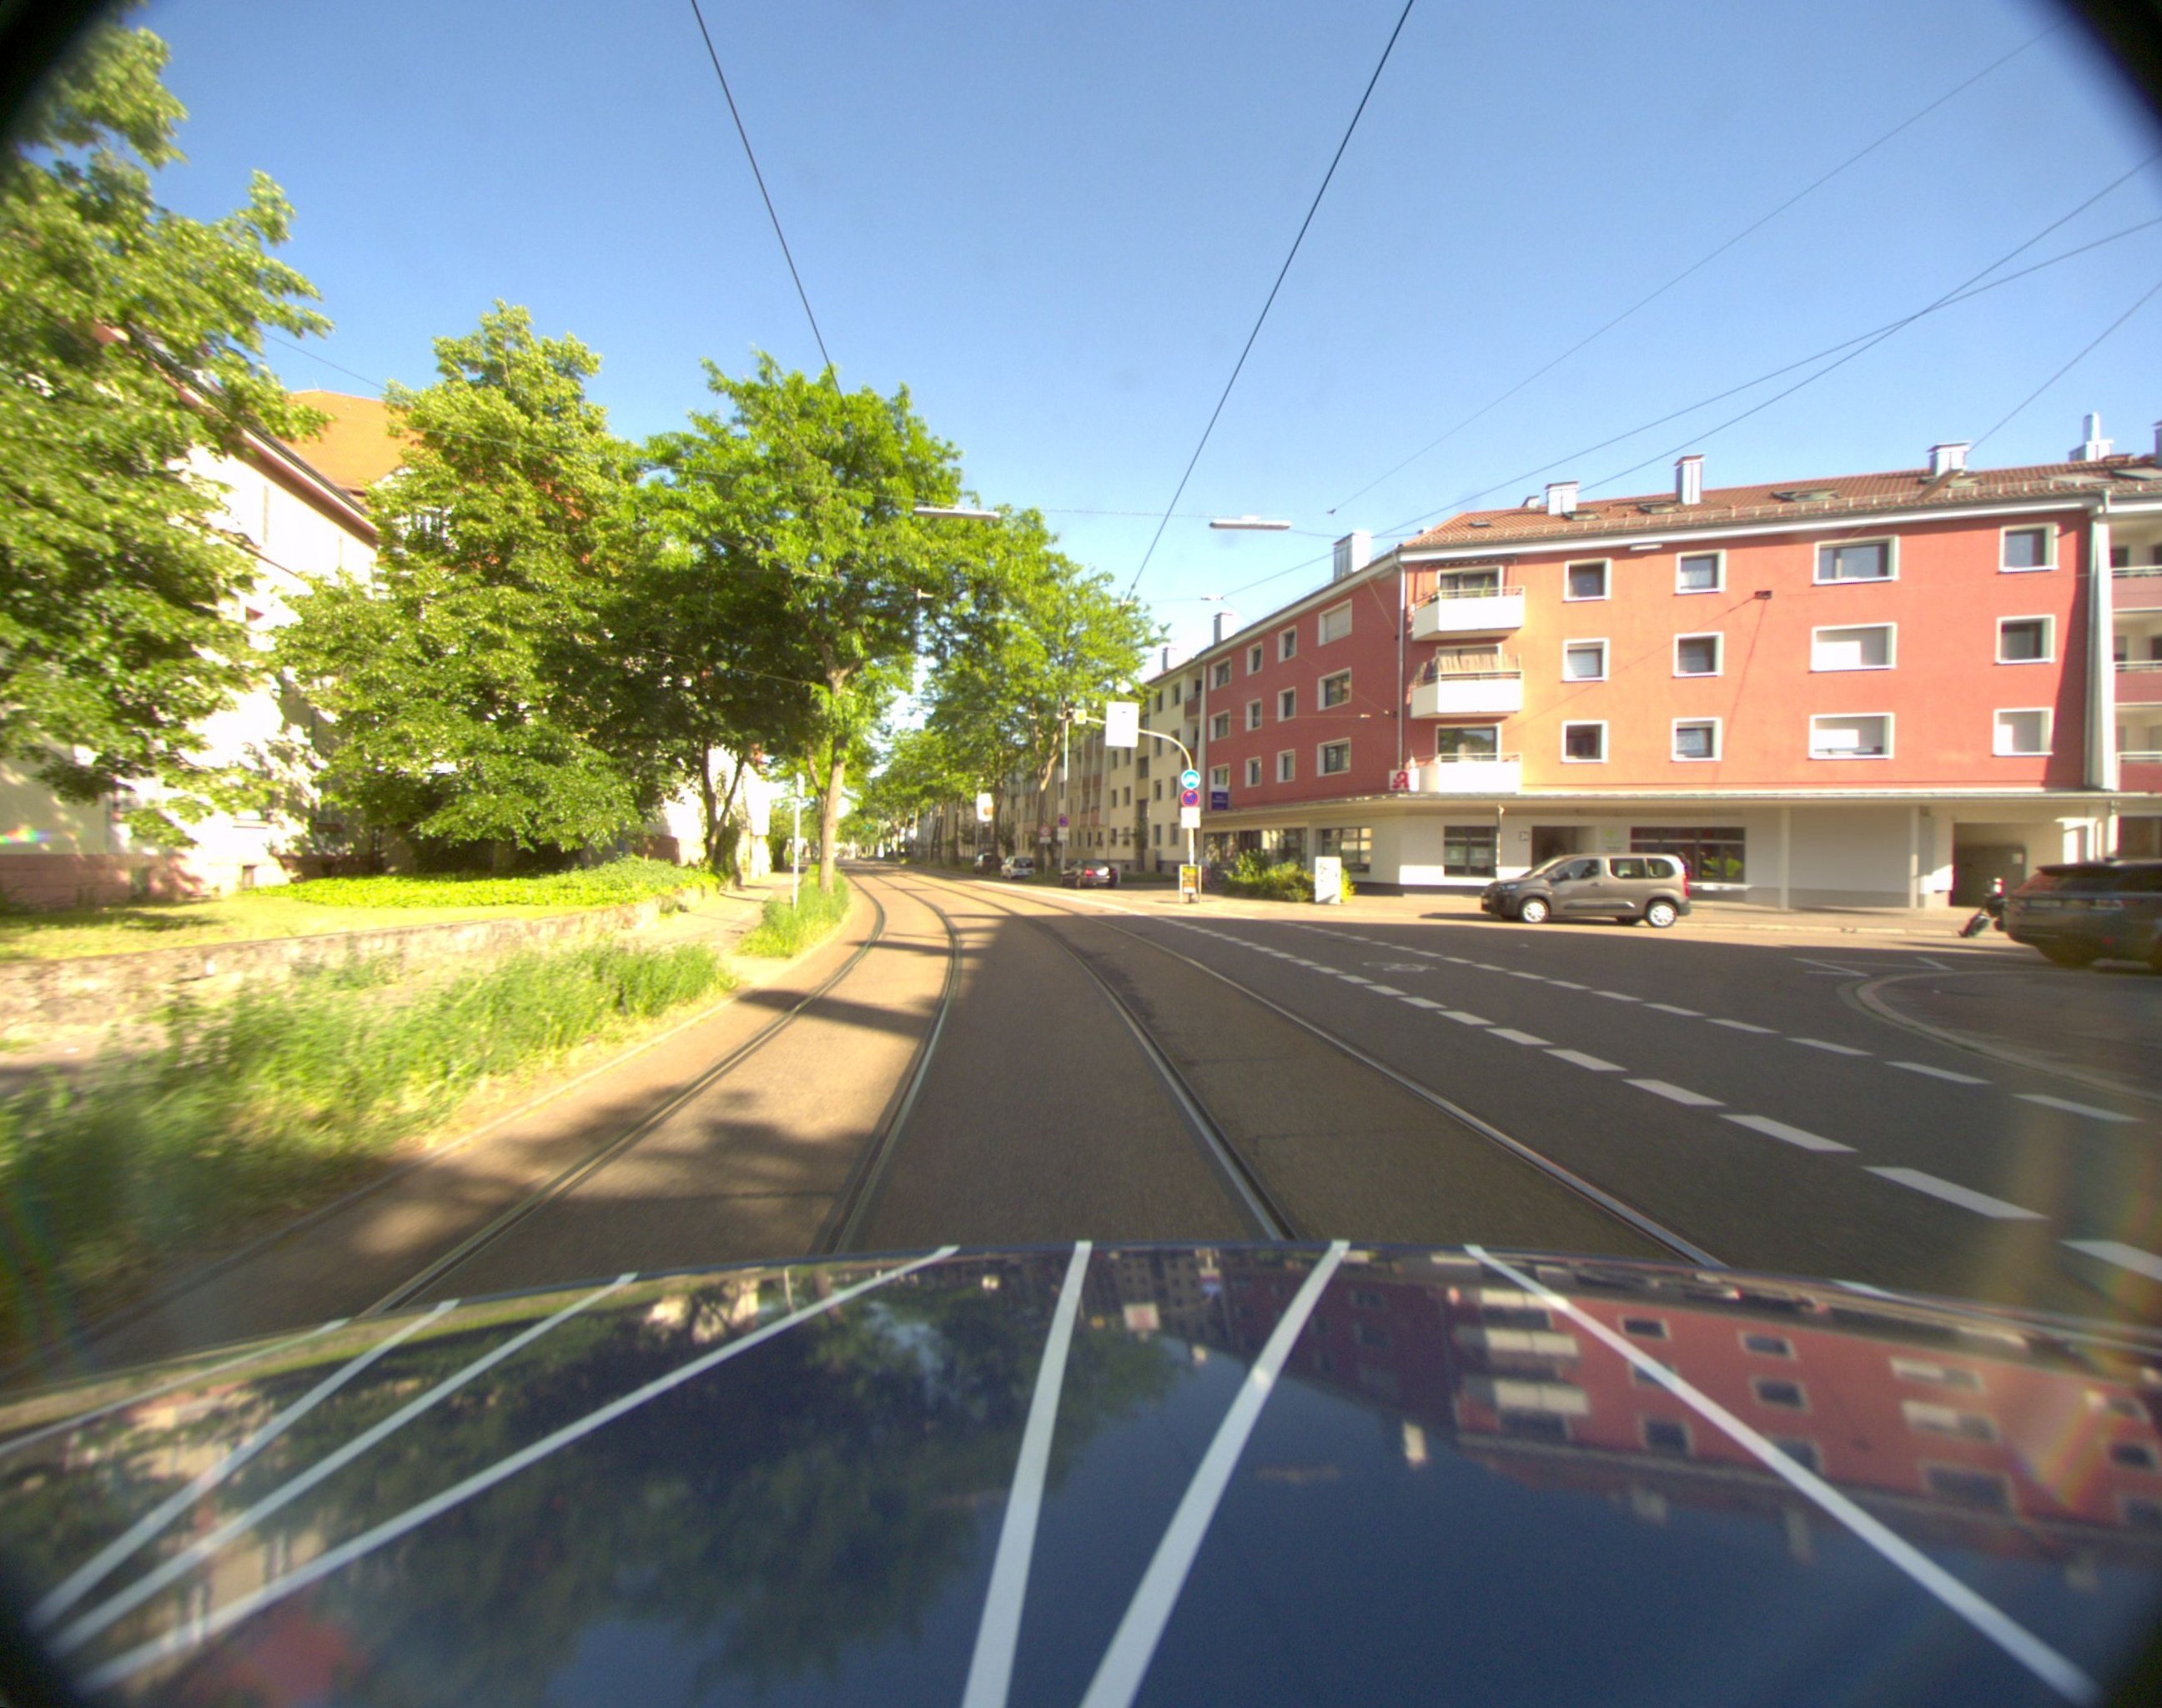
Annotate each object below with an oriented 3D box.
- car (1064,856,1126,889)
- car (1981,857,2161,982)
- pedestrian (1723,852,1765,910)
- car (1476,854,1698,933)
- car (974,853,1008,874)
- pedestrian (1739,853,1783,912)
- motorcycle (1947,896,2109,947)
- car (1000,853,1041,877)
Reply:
[{"bbox_3d":[0.595,0.837,35.937,1.881,1.390,3.995,-2,1,-15],"label":"car"},{"bbox_3d":[17.054,0.975,11.278,4.482,1.769,1.791,1,1,17],"label":"car"},{"bbox_3d":[20.663,0.823,23.697,0.803,1.755,0.509,1,1,16],"label":"pedestrian"},{"bbox_3d":[12.627,0.930,19.252,4.281,1.769,1.790,1,1,13],"label":"car"},{"bbox_3d":[-6.638,0.677,55.749,1.881,1.390,3.995,-2,1,-15],"label":"car"},{"bbox_3d":[20.479,0.849,22.906,0.803,1.755,0.509,1,1,16],"label":"pedestrian"},{"bbox_3d":[21.177,1.489,17.039,2.273,0.979,0.655,1,1,17],"label":"motorcycle"},{"bbox_3d":[-3.924,0.687,48.718,1.881,1.390,3.995,-2,1,-15],"label":"car"}]
